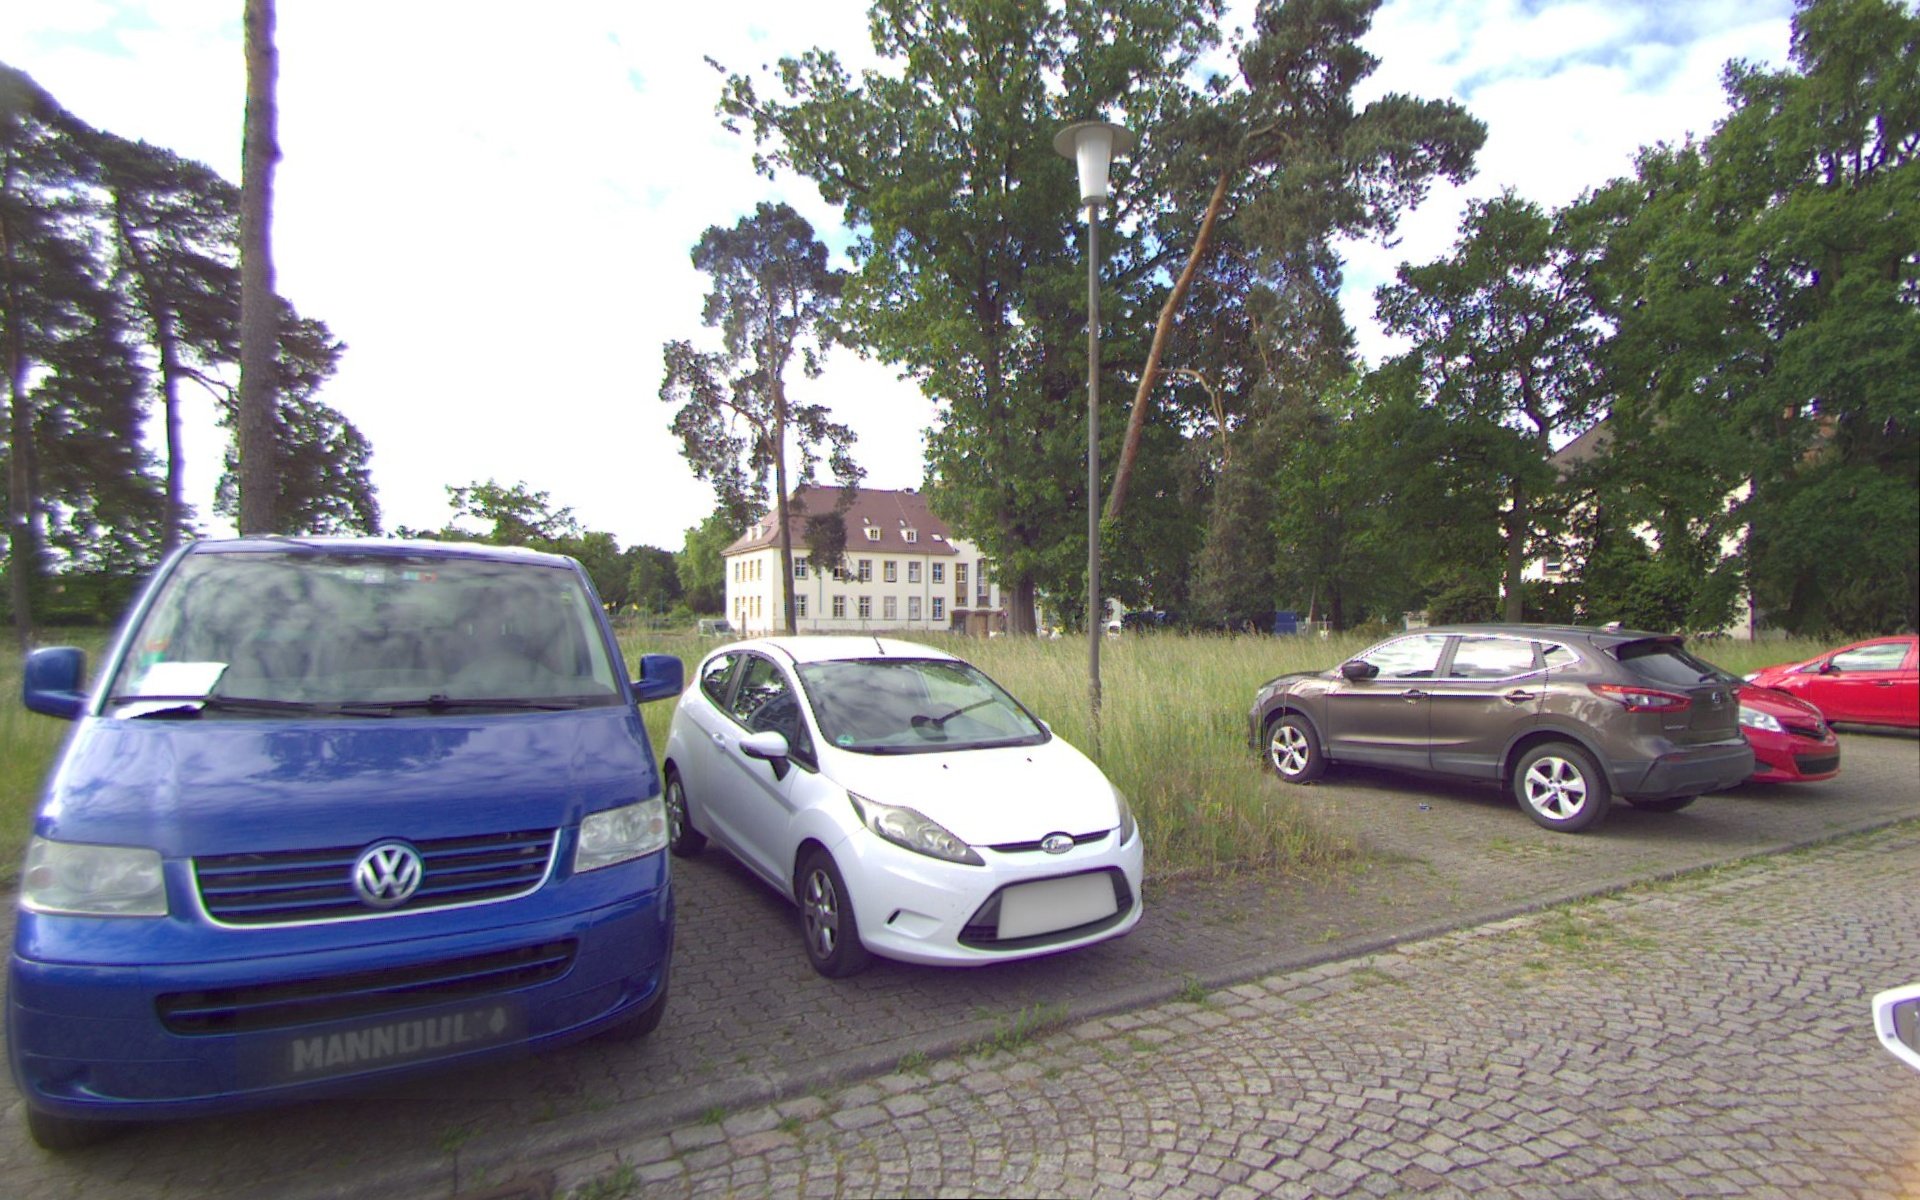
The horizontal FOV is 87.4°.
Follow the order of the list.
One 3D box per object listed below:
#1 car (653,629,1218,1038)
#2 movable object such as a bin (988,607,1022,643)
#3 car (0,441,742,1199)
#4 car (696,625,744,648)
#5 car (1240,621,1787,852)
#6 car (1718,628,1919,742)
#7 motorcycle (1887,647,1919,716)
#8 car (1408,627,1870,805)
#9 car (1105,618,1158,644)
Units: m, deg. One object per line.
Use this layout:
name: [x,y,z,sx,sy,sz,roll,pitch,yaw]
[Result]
car: [-0.470,0.956,5.934,1.706,1.513,3.774,1,-1,-31]
movable object such as a bin: [4.744,2.678,106.833,2.104,3.689,6.123,2,-2,-12]
car: [-2.729,0.669,4.775,2.014,2.007,4.688,1,-1,-30]
car: [-23.215,3.501,96.981,2.350,2.143,5.762,3,-3,-38]
car: [4.782,1.001,9.297,1.931,1.596,4.048,1,-1,-30]
car: [13.549,1.190,14.499,1.766,1.509,3.798,1,-1,-30]
motorcycle: [17.292,1.421,17.046,0.638,1.174,2.219,1,-1,-26]
car: [7.062,1.070,10.865,1.740,1.506,3.799,1,-1,-29]
car: [15.045,2.752,88.266,4.294,2.122,2.052,3,-3,-30]
